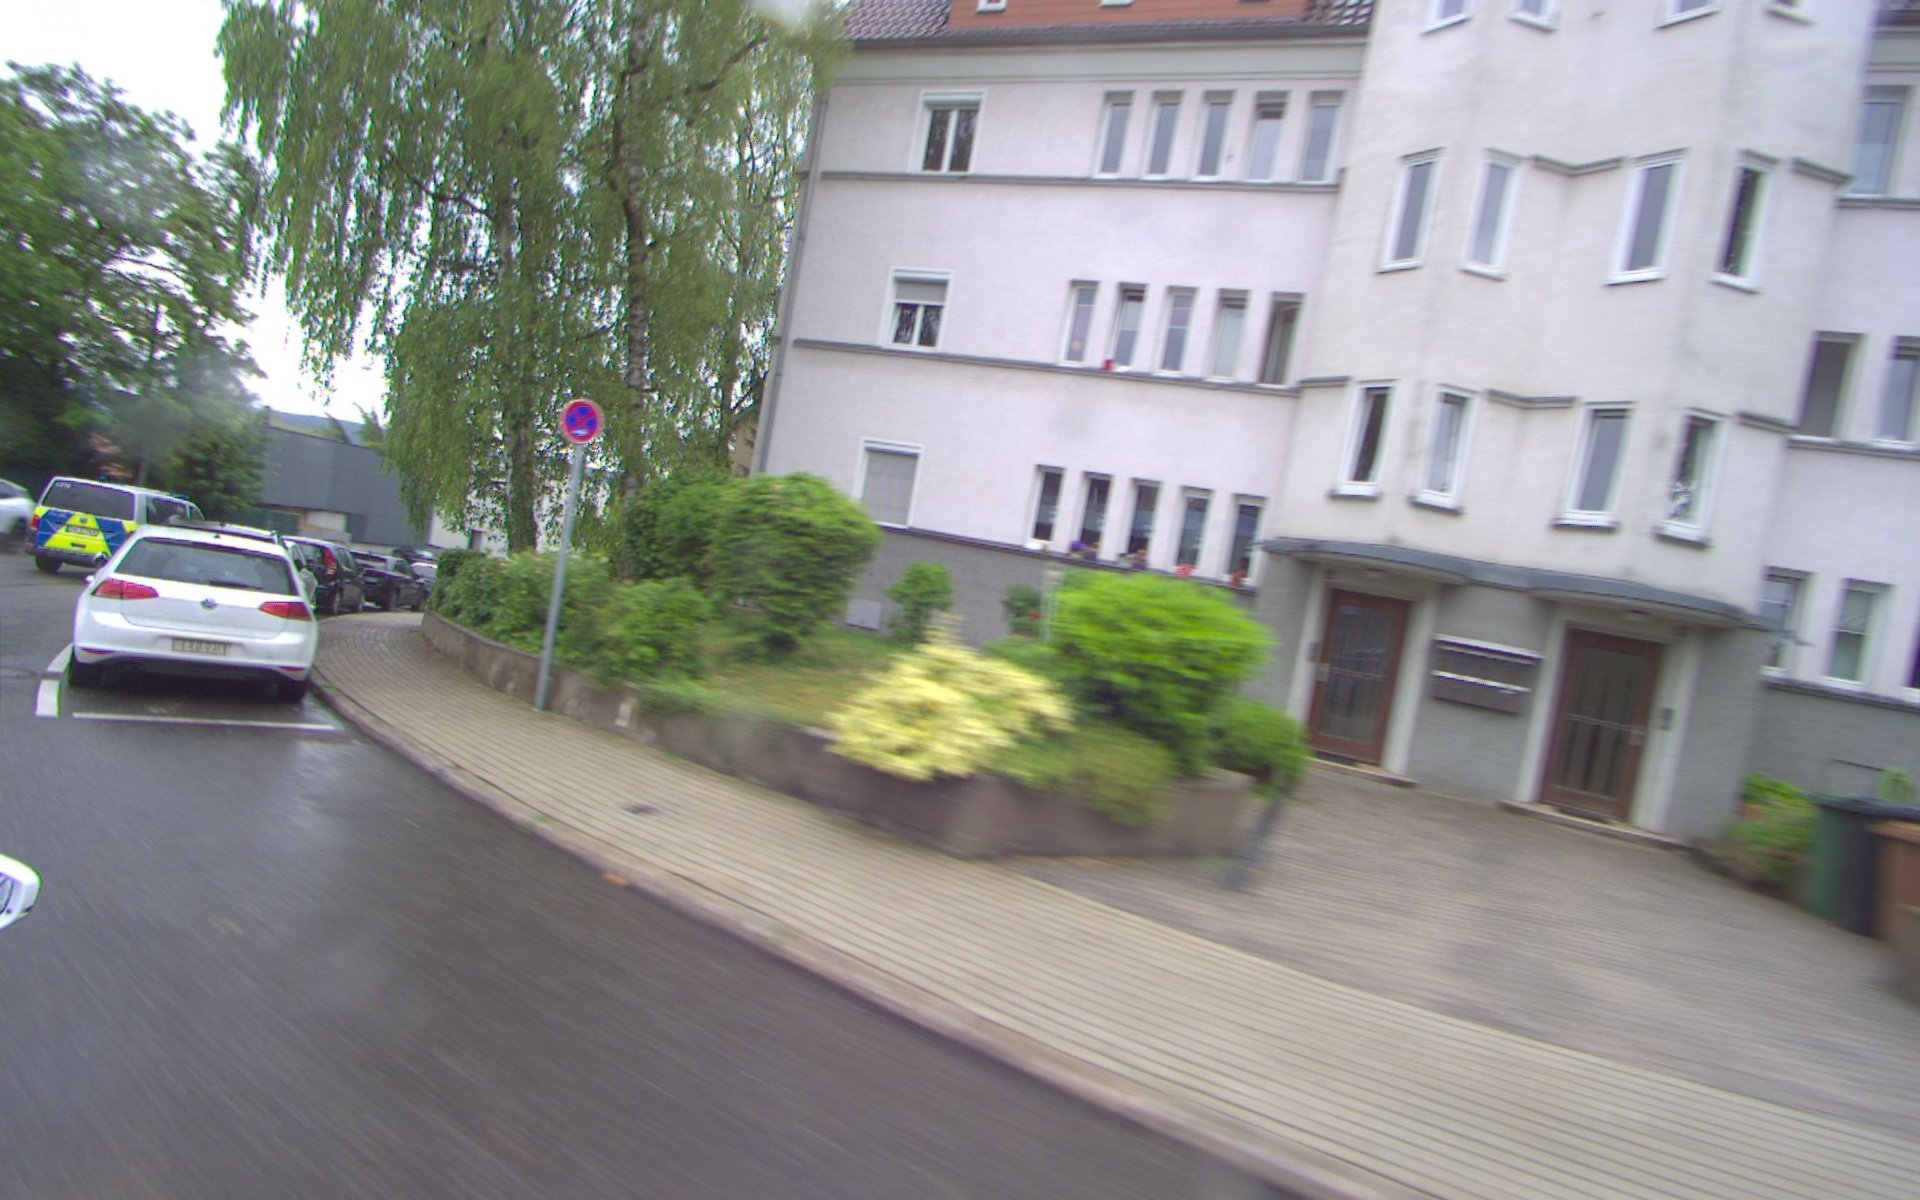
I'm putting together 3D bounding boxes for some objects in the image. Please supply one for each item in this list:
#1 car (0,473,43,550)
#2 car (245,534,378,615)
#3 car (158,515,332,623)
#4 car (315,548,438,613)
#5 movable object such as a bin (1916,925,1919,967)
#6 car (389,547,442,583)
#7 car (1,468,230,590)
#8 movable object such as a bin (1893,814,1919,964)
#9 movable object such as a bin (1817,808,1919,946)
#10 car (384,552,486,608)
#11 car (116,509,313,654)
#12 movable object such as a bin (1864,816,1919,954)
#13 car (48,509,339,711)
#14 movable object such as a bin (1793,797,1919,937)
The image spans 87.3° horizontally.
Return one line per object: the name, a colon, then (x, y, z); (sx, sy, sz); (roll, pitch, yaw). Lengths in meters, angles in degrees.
car: (-21.379, -2.008, 20.736); (1.804, 1.626, 4.271); (7, 0, -16)
car: (-14.776, -0.552, 23.131); (1.602, 1.523, 3.591); (8, -2, -19)
car: (-12.449, -0.525, 17.782); (1.711, 1.481, 4.006); (8, -2, -26)
car: (-15.989, -0.498, 27.783); (1.694, 1.452, 4.060); (8, -2, -14)
movable object such as a bin: (6.688, 1.953, 6.389); (0.677, 1.025, 0.531); (6, -1, 25)
car: (-29.170, -1.899, 53.814); (1.884, 1.315, 3.960); (12, -2, -36)
car: (-18.028, -1.393, 21.818); (1.973, 1.912, 4.555); (11, -4, -18)
movable object such as a bin: (6.987, 2.042, 6.893); (0.677, 0.981, 0.484); (6, -1, 25)
movable object such as a bin: (7.263, 2.164, 7.863); (0.677, 0.909, 0.484); (6, -1, 25)
car: (-17.035, -0.586, 32.823); (1.659, 1.488, 3.735); (7, -2, -8)
car: (-10.118, -0.323, 13.945); (1.613, 1.537, 4.291); (8, 0, -31)
movable object such as a bin: (7.187, 2.119, 7.352); (0.677, 0.909, 0.484); (6, -1, 25)
car: (-7.617, 0.030, 10.042); (1.783, 1.462, 4.062); (10, -3, -39)
movable object such as a bin: (7.508, 2.204, 8.392); (0.677, 0.954, 0.484); (6, -1, 25)
